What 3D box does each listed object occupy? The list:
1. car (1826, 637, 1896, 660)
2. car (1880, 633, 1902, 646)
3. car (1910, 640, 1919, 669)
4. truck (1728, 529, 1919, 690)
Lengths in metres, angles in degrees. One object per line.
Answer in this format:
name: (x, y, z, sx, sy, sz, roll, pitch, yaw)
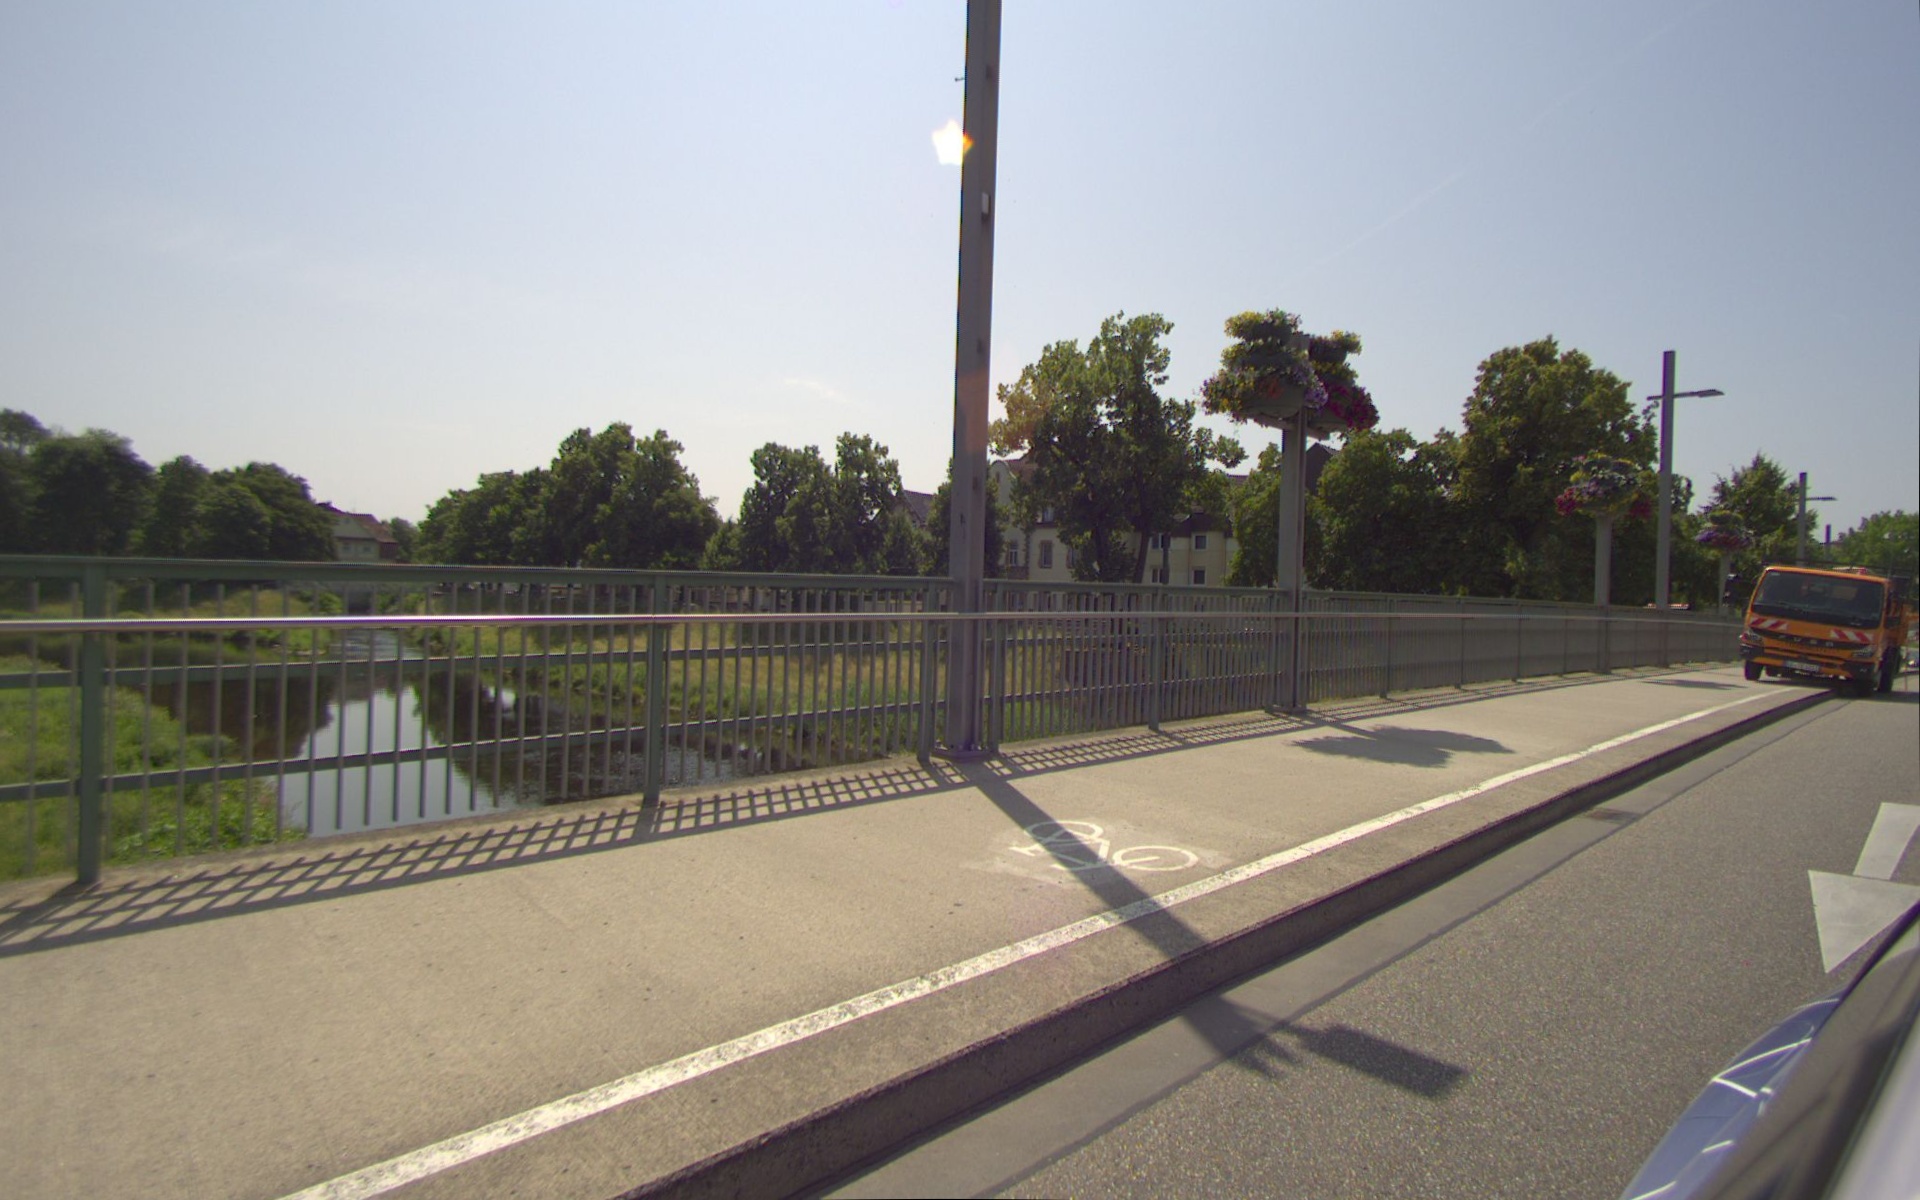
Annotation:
car: (72.635, 3.875, 81.614, 1.617, 1.482, 3.871, 3, 2, -17)
car: (115.398, 4.884, 125.418, 1.711, 1.504, 3.974, -2, -1, 39)
car: (58.462, 3.293, 60.669, 1.767, 1.507, 3.947, 0, 1, 37)
truck: (17.445, 0.177, 20.042, 5.724, 2.725, 2.609, 2, 0, -43)
